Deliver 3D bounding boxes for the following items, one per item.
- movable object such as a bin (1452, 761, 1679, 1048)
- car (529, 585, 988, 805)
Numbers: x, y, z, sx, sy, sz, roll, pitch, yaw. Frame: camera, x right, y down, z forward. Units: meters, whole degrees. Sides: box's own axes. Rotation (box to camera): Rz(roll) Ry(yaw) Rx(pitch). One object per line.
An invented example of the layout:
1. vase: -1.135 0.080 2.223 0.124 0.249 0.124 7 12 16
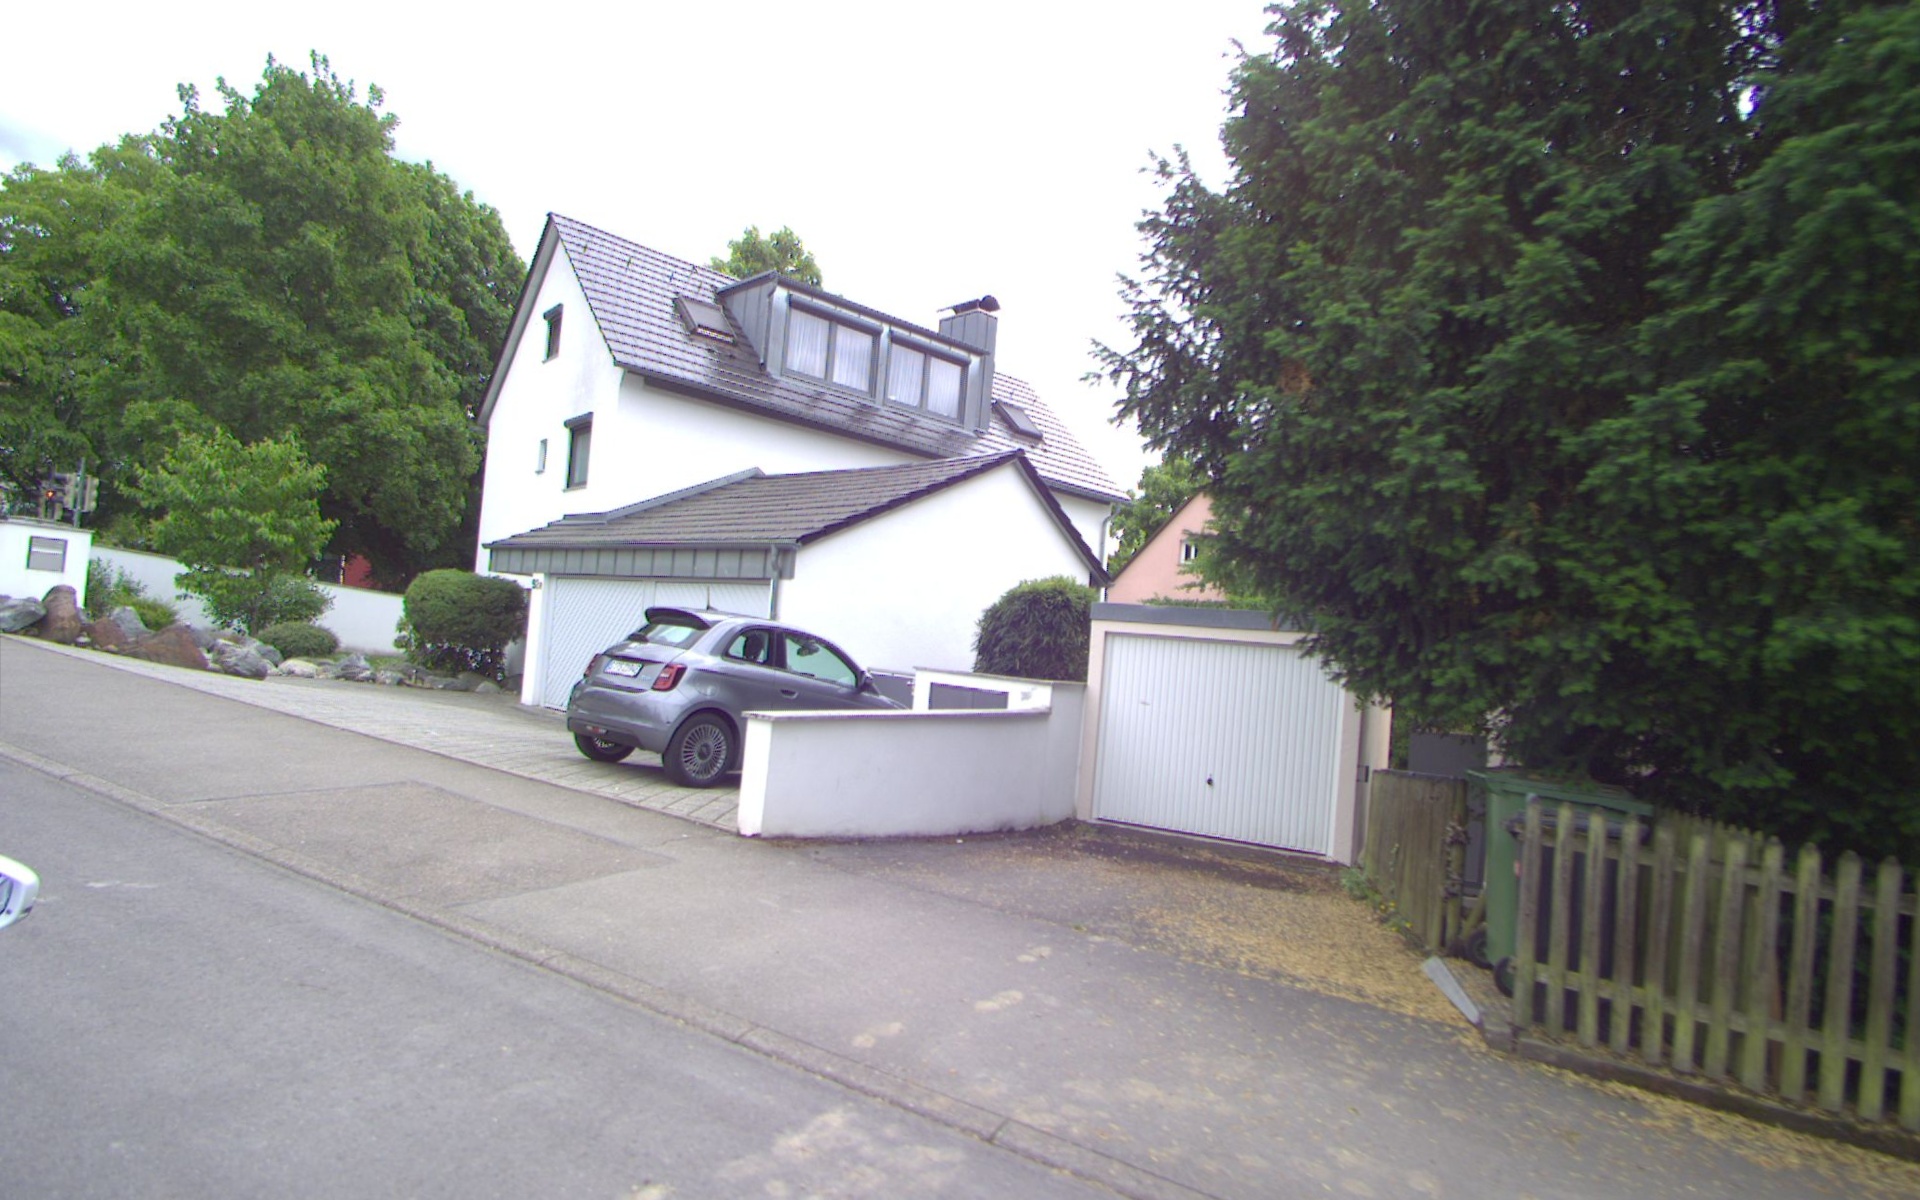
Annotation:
1. movable object such as a bin: 2.971 1.457 5.004 0.752 1.165 0.694 6 -8 18
2. car: -1.752 1.016 9.800 1.765 1.485 3.990 4 -8 42
